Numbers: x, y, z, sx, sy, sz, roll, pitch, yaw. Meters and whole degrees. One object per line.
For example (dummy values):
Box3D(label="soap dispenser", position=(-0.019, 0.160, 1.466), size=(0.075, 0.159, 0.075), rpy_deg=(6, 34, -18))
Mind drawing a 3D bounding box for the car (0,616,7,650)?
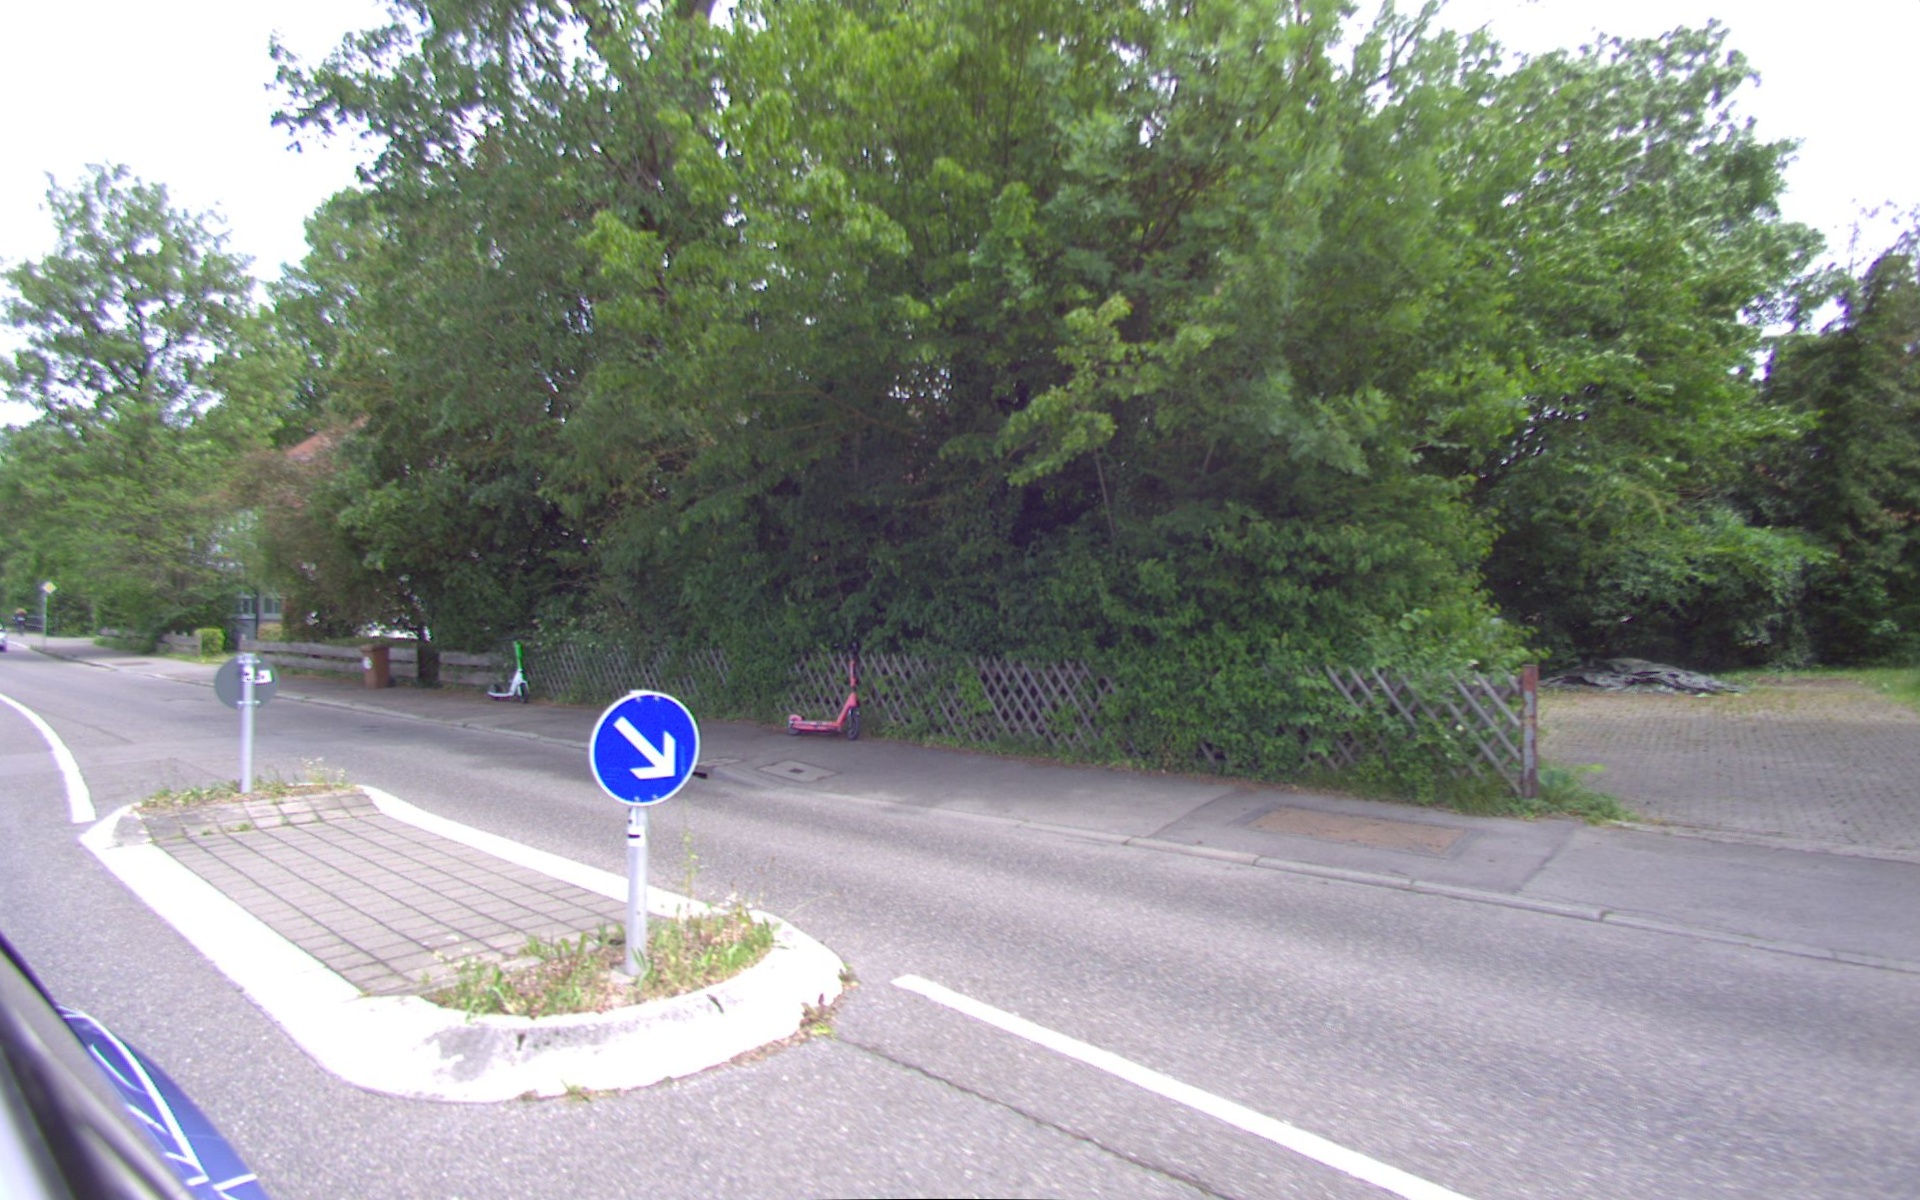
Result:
Box3D(label="car", position=(-42.461, 1.367, 43.485), size=(3.783, 1.441, 1.676), rpy_deg=(-1, -3, 40))

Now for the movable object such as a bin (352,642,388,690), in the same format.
Box3D(label="movable object such as a bin", position=(-12.318, 1.369, 21.131), size=(0.568, 0.952, 0.508), rpy_deg=(-1, 0, 42))

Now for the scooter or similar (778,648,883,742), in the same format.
Box3D(label="scooter or similar", position=(-1.600, 1.151, 12.483), size=(1.207, 1.089, 0.475), rpy_deg=(-1, 0, 25))

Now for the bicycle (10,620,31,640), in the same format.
Box3D(label="bicycle", position=(-60.251, 1.941, 64.890), size=(2.308, 1.236, 0.747), rpy_deg=(-1, -3, 43))

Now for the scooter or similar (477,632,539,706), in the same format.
Box3D(label="scooter or similar", position=(-7.938, 1.183, 17.761), size=(1.640, 1.208, 0.404), rpy_deg=(-1, -2, 44))

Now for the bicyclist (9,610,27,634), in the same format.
Box3D(label="bicyclist", position=(-60.448, 1.422, 64.953), size=(0.870, 1.561, 0.770), rpy_deg=(-1, -2, 43))
